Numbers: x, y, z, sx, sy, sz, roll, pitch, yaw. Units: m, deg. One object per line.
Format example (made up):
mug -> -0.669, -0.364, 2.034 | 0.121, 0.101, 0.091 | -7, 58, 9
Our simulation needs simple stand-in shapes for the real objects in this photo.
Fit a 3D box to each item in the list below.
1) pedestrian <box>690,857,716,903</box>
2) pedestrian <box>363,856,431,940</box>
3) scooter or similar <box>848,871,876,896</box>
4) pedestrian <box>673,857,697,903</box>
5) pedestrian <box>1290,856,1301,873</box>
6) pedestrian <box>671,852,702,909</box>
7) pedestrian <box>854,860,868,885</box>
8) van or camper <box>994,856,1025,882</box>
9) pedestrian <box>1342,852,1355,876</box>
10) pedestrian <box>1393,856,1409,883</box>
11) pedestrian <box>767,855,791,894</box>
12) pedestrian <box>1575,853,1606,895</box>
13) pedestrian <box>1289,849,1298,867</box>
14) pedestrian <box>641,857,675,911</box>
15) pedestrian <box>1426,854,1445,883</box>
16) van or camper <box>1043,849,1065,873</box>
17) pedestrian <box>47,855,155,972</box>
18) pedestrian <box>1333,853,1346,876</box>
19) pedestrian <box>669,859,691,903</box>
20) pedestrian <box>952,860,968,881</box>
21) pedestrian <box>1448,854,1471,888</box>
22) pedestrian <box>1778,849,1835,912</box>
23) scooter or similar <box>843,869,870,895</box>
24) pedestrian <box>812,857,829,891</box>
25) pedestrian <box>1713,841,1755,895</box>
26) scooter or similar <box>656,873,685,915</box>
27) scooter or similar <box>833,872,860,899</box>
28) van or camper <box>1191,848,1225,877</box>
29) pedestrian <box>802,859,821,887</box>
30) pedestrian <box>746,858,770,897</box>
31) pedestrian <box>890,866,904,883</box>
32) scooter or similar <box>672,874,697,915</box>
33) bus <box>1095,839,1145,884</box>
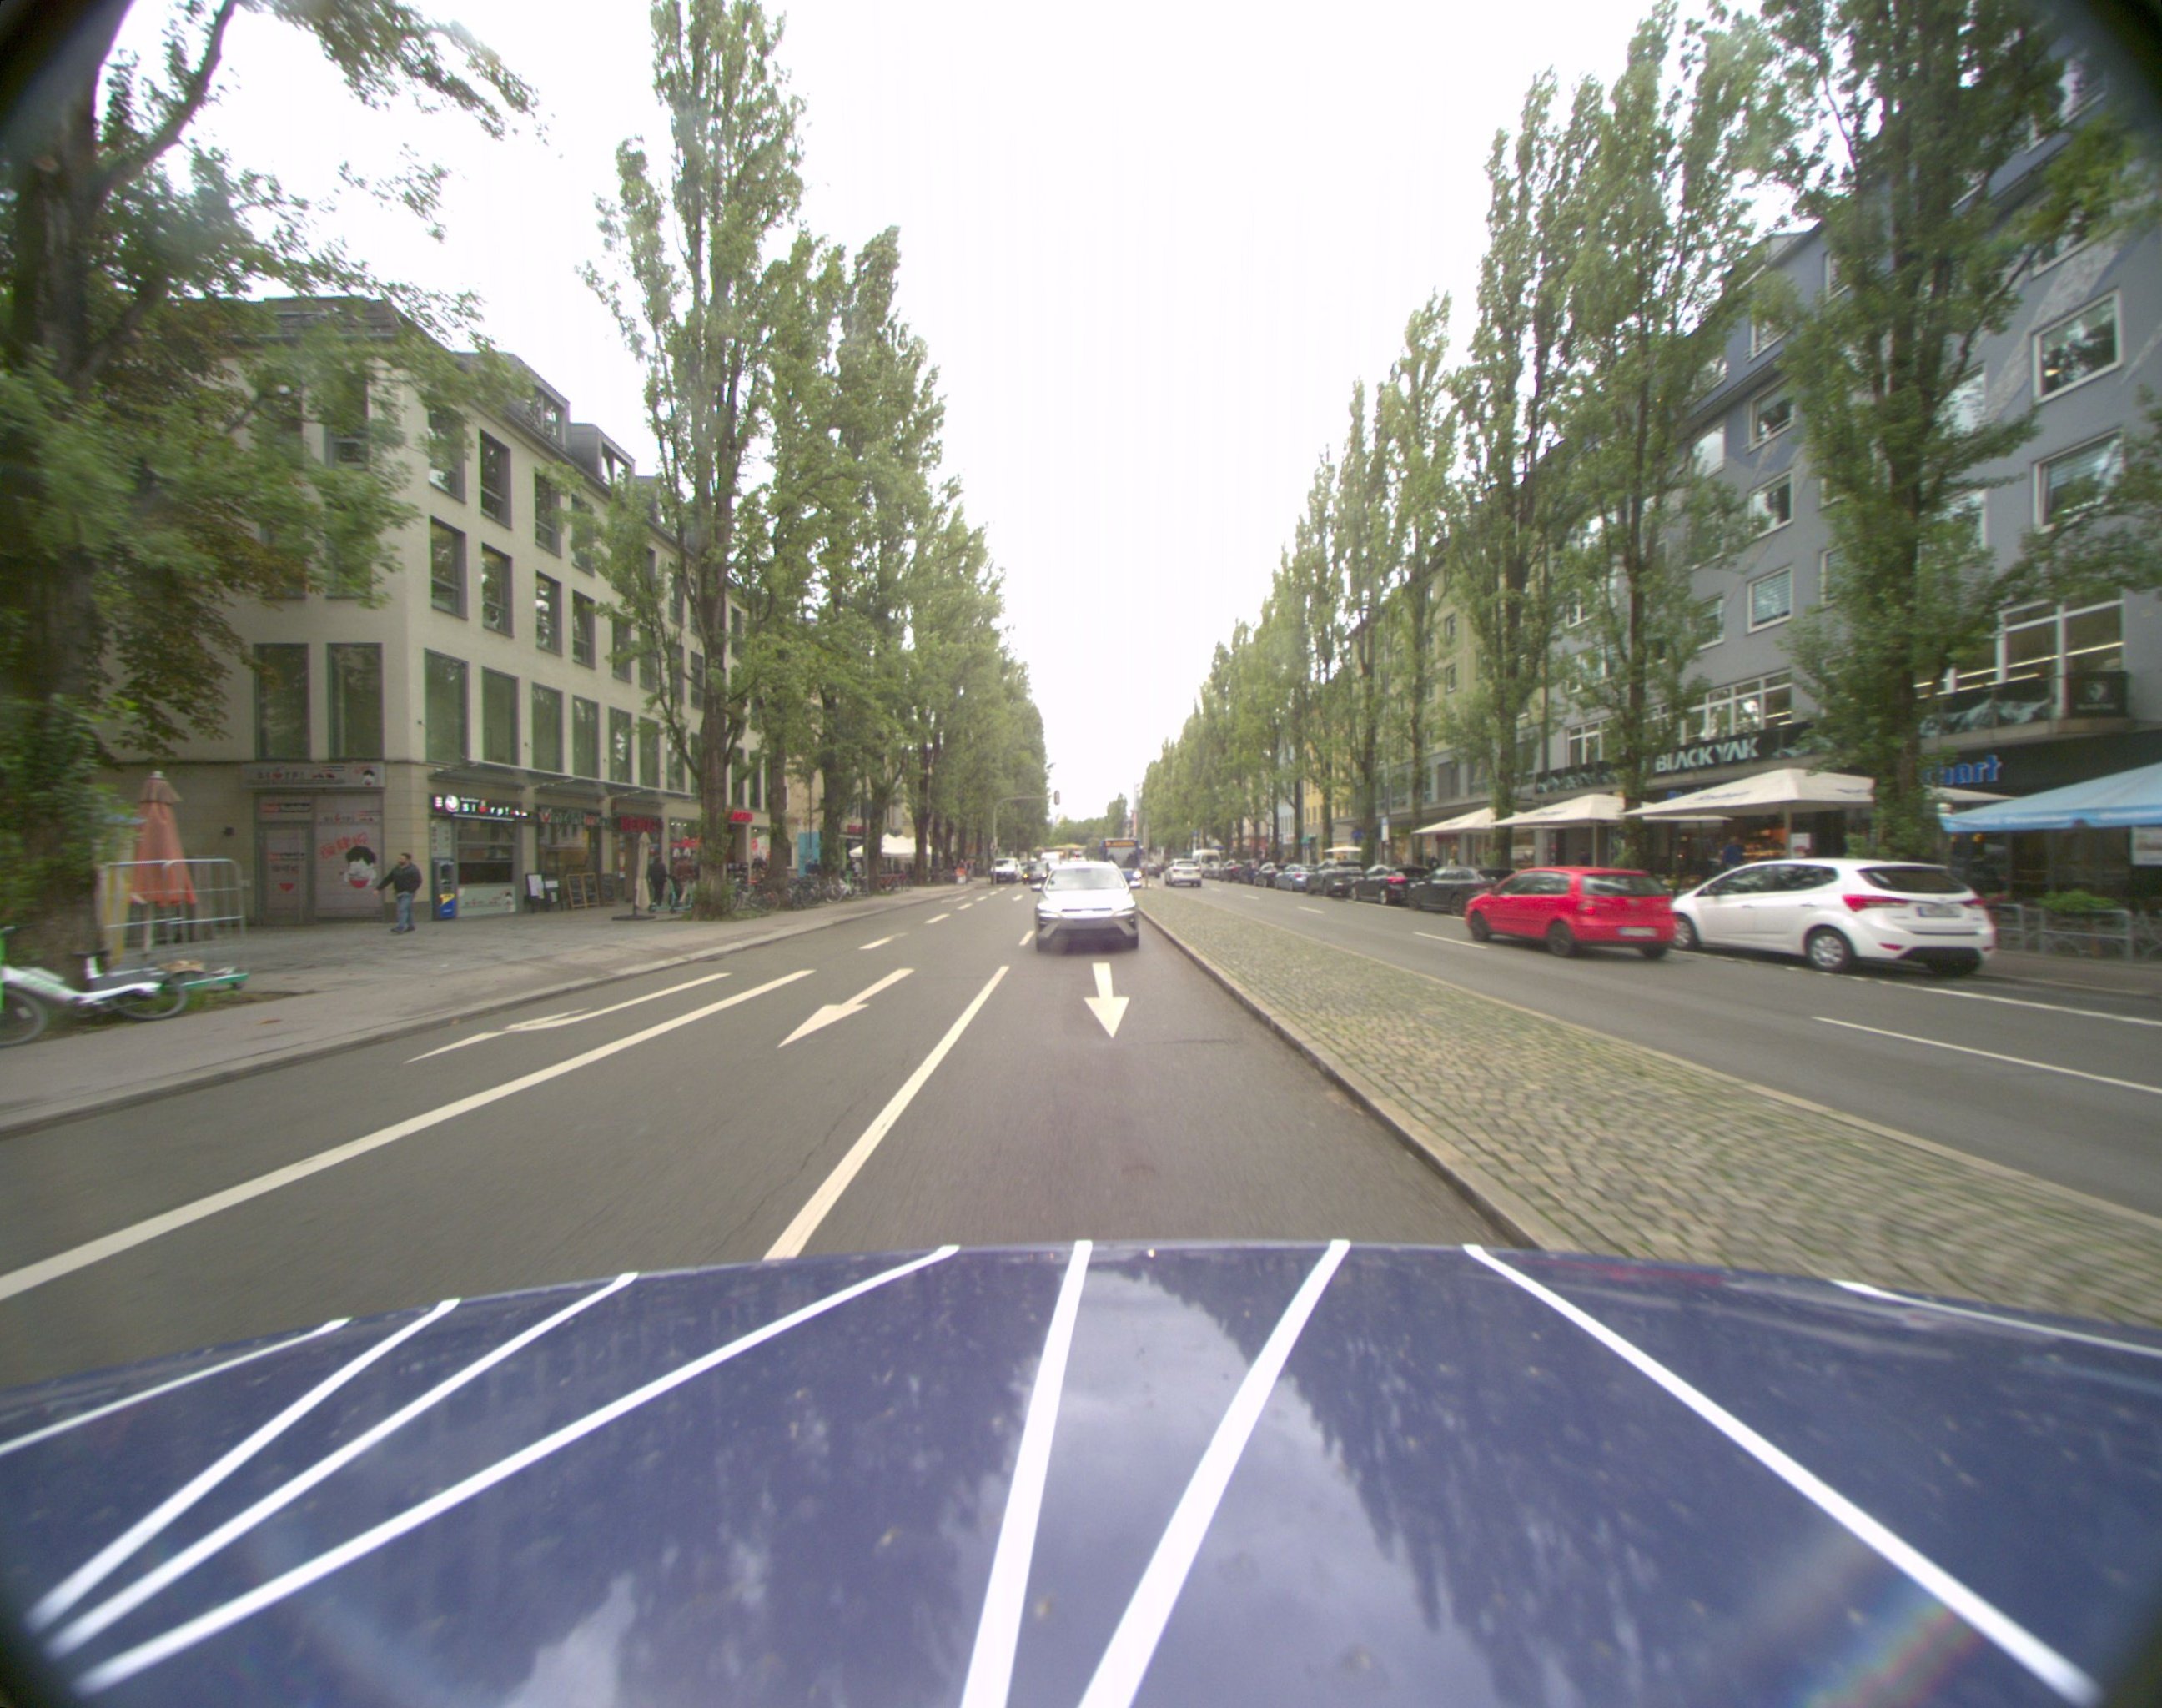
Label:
pedestrian -> -14.637, 0.990, 29.432 | 0.658, 1.774, 0.674 | -1, 0, 2
pedestrian -> -15.181, 0.943, 16.895 | 0.814, 1.804, 0.979 | -1, 0, -21
scooter or similar -> -10.426, 1.397, 36.173 | 0.285, 1.162, 1.247 | -1, 1, 42
pedestrian -> -15.353, 1.006, 29.473 | 0.566, 1.774, 0.674 | -1, 0, 2
pedestrian -> 17.918, 0.896, 63.424 | 0.769, 1.430, 0.551 | 0, 0, -4
pedestrian -> -13.670, 0.909, 26.355 | 0.658, 1.959, 0.722 | 0, 0, 3
pedestrian -> -14.761, 1.243, 50.952 | 0.668, 1.654, 0.692 | -1, 0, -1
van or camper -> -5.429, 1.111, 58.037 | 1.795, 1.894, 4.566 | -1, 0, 1
pedestrian -> 20.360, 0.772, 57.917 | 0.749, 1.784, 0.716 | -1, 0, 1
pedestrian -> 19.512, 0.937, 46.326 | 0.723, 1.641, 0.712 | 0, 0, 1
pedestrian -> -14.464, 0.968, 36.425 | 0.753, 1.858, 0.821 | 0, 0, 3
pedestrian -> 20.079, 0.796, 29.938 | 0.742, 1.631, 0.756 | 0, 0, 2
pedestrian -> 20.218, 0.419, 72.187 | 0.640, 1.694, 0.724 | 0, 0, 0
pedestrian -> -14.514, 1.013, 26.090 | 0.658, 1.840, 0.906 | 0, 0, 2
pedestrian -> 20.414, 0.846, 43.730 | 0.710, 1.663, 0.756 | -1, 0, 1
van or camper -> -2.859, 0.703, 80.994 | 1.998, 2.470, 6.644 | -1, 0, 1
pedestrian -> -15.654, 0.926, 12.156 | 0.744, 1.804, 0.756 | -1, 0, 4
pedestrian -> 19.732, 0.791, 57.911 | 0.749, 1.784, 0.716 | -1, 0, 1
pedestrian -> -16.376, 1.085, 31.055 | 0.548, 1.757, 0.641 | -1, 0, -1
pedestrian -> -10.229, 1.399, 64.250 | 0.941, 1.756, 0.837 | -1, 0, 38
pedestrian -> 20.250, 0.902, 40.672 | 0.820, 1.744, 0.756 | -1, 0, 1
pedestrian -> 18.865, 0.676, 19.771 | 0.742, 1.592, 0.756 | 0, 0, 2
scooter or similar -> -10.763, 1.338, 36.445 | 0.306, 1.162, 1.247 | -1, 1, 39
pedestrian -> -13.755, 1.051, 40.118 | 0.566, 1.732, 0.697 | -1, 0, 3
pedestrian -> 21.620, 0.466, 25.166 | 0.742, 1.744, 0.756 | 0, 0, 1
scooter or similar -> -13.076, 1.267, 24.234 | 0.331, 1.266, 1.036 | 0, 0, 0
scooter or similar -> -10.439, 1.376, 33.825 | 1.241, 1.163, 0.404 | 0, 1, 30
van or camper -> 11.819, 0.739, 70.971 | 2.131, 2.536, 6.644 | -1, 0, 1
pedestrian -> -16.015, 1.118, 45.184 | 0.764, 1.594, 1.016 | -1, 0, 1
pedestrian -> -15.624, 1.111, 36.749 | 0.753, 1.843, 0.821 | -1, 0, 2
pedestrian -> -13.501, 1.464, 55.678 | 0.667, 1.209, 1.023 | -1, 0, 4
scooter or similar -> -12.658, 1.286, 24.265 | 0.248, 1.266, 1.036 | 0, 0, 1
bus -> 2.651, 0.532, 55.394 | 2.806, 2.886, 12.857 | 0, 0, -1
